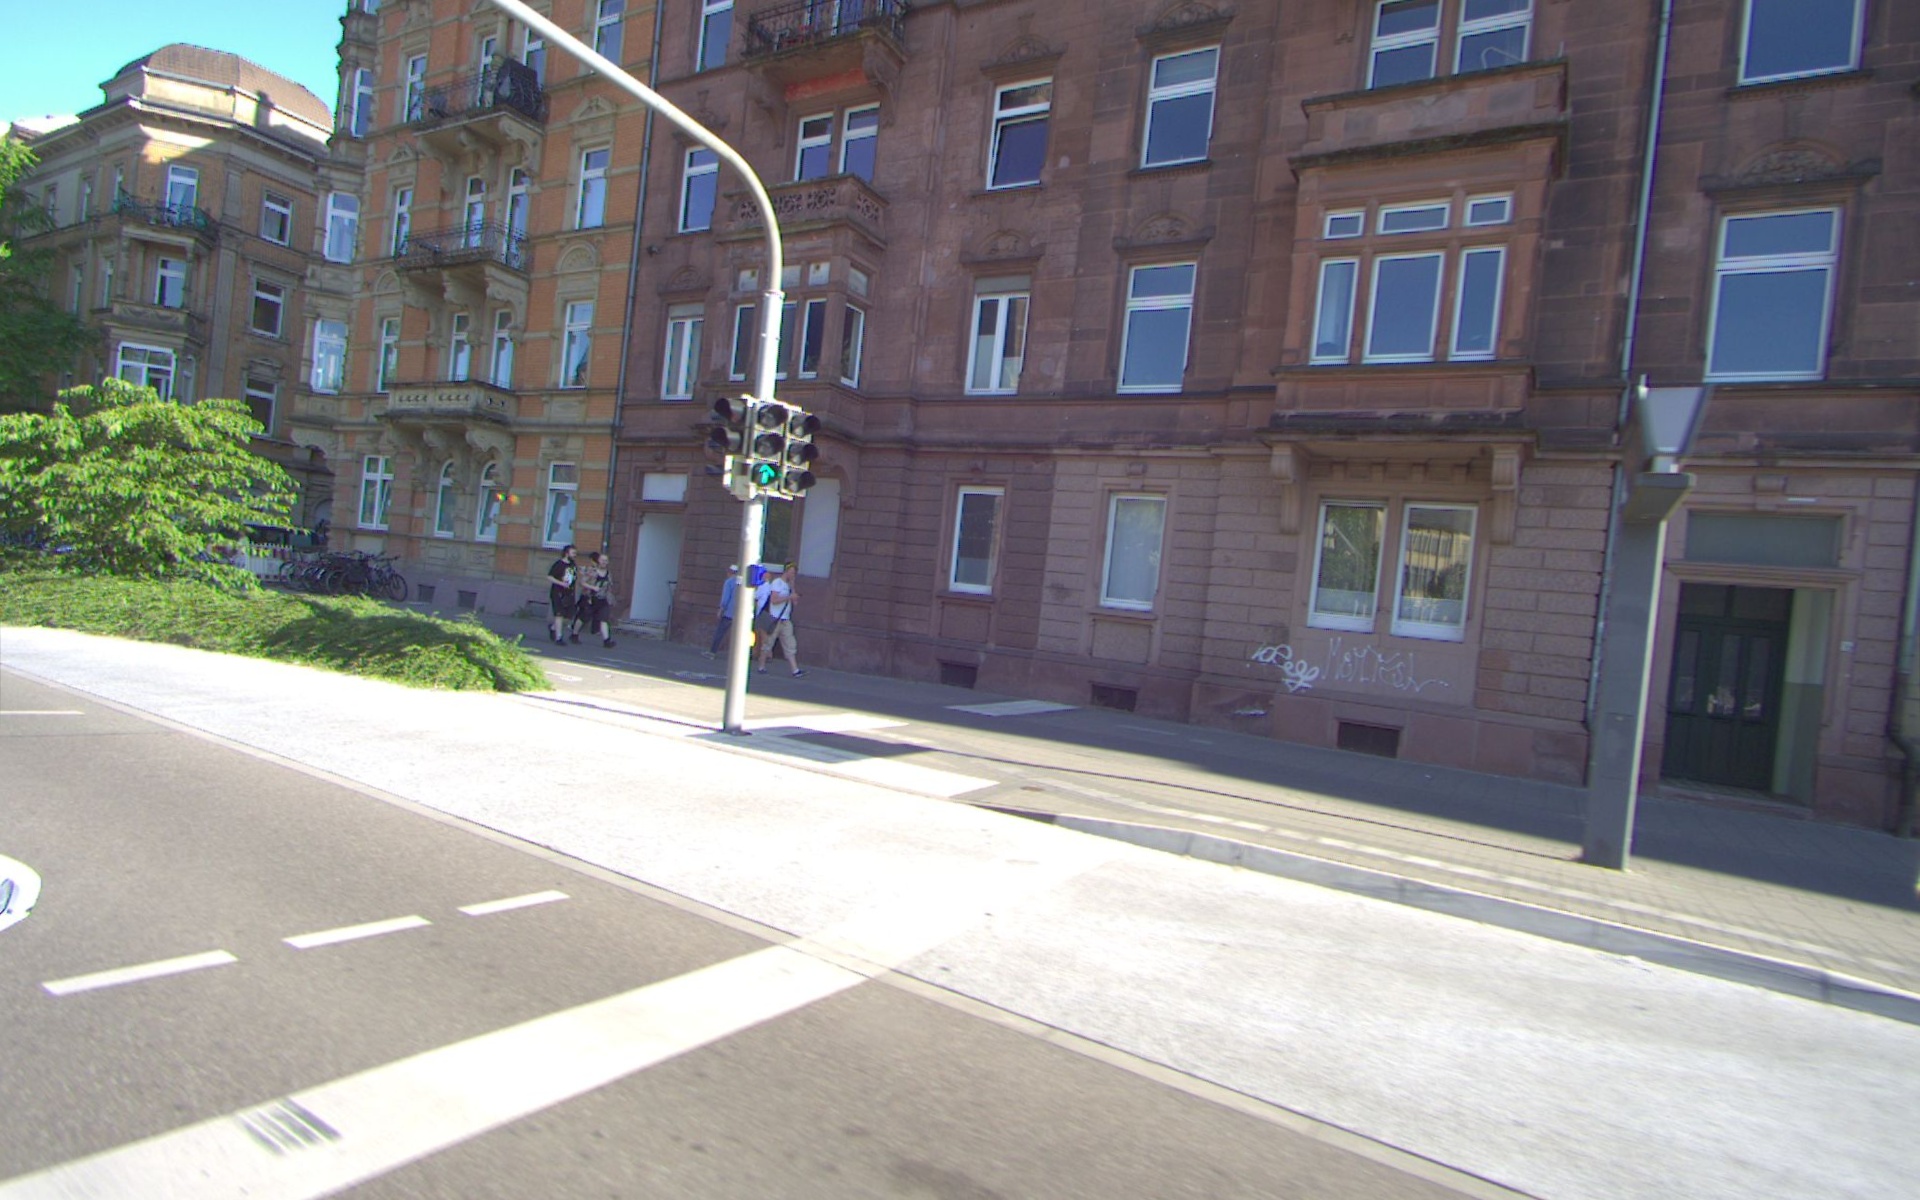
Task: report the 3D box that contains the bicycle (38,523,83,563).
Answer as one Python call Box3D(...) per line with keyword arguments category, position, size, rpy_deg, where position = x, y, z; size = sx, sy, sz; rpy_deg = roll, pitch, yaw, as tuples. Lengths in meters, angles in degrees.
Box3D(category="bicycle", position=(-29.433, -1.861, 32.910), size=(1.790, 1.061, 0.518), rpy_deg=(9, 3, 30))

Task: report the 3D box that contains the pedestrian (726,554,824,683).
Box3D(category="pedestrian", position=(-3.004, 0.302, 16.334), size=(1.118, 1.954, 0.823), rpy_deg=(6, 1, 31))

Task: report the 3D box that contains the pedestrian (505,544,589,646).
Box3D(category="pedestrian", position=(-7.282, -0.086, 17.739), size=(1.118, 1.676, 0.703), rpy_deg=(6, 1, 31))

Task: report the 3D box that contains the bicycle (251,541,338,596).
Box3D(category="bicycle", position=(-16.964, -0.780, 25.695), size=(0.481, 1.255, 1.888), rpy_deg=(5, 0, 19))

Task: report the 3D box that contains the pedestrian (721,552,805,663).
Box3D(category="pedestrian", position=(-3.720, 0.142, 18.999), size=(1.118, 1.954, 0.823), rpy_deg=(6, 1, 31))

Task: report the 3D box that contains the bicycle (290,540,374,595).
Box3D(category="bicycle", position=(-15.894, -0.813, 25.509), size=(0.481, 1.255, 1.888), rpy_deg=(5, 0, 19))

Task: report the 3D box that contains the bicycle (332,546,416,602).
Box3D(category="bicycle", position=(-14.372, -0.616, 24.734), size=(0.481, 1.255, 1.888), rpy_deg=(5, 0, 19))

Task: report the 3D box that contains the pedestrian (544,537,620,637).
Box3D(category="pedestrian", position=(-7.963, -0.274, 21.215), size=(1.118, 1.954, 0.823), rpy_deg=(6, 1, 31))

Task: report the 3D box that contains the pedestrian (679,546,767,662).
Box3D(category="pedestrian", position=(-4.295, 0.081, 18.241), size=(1.118, 1.954, 0.823), rpy_deg=(6, 1, 31))

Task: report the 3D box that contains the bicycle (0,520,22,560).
Box3D(category="bicycle", position=(-29.701, -1.892, 31.065), size=(1.790, 1.061, 0.518), rpy_deg=(9, 3, 30))

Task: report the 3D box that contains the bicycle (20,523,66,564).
Box3D(category="bicycle", position=(-29.181, -1.800, 32.014), size=(1.790, 1.061, 0.518), rpy_deg=(9, 3, 30))

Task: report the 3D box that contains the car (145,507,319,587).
Box3D(category="car", position=(-25.922, -1.821, 36.012), size=(1.745, 2.150, 4.585), rpy_deg=(9, 1, 29))

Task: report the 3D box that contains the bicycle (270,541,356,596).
Box3D(category="bicycle", position=(-16.405, -0.786, 25.570), size=(0.481, 1.255, 1.888), rpy_deg=(5, 0, 19))

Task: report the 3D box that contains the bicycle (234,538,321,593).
Box3D(category="bicycle", position=(-17.525, -0.866, 25.867), size=(0.481, 1.255, 1.888), rpy_deg=(5, 0, 19))

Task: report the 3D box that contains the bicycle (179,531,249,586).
Box3D(category="bicycle", position=(-18.955, -1.064, 25.558), size=(1.855, 1.255, 0.490), rpy_deg=(5, 1, 22))

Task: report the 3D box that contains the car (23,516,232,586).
Box3D(category="car", position=(-24.007, -1.368, 29.189), size=(1.782, 1.433, 4.256), rpy_deg=(9, 1, 30))

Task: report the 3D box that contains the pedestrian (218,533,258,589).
Box3D(category="pedestrian", position=(-21.293, -1.143, 29.680), size=(0.692, 1.554, 0.659), rpy_deg=(6, 1, -18))

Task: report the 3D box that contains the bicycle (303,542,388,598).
Box3D(category="bicycle", position=(-15.389, -0.731, 25.238), size=(0.481, 1.255, 1.888), rpy_deg=(5, 0, 19))

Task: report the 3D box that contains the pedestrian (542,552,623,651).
Box3D(category="pedestrian", position=(-6.913, 0.031, 18.410), size=(1.118, 1.676, 0.703), rpy_deg=(6, 1, 31))

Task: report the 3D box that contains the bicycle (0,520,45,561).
Box3D(category="bicycle", position=(-29.440, -1.868, 31.551), size=(1.790, 1.061, 0.518), rpy_deg=(9, 3, 30))

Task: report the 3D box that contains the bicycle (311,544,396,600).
Box3D(category="bicycle", position=(-14.931, -0.670, 24.824), size=(0.481, 1.255, 1.888), rpy_deg=(5, 0, 19))
